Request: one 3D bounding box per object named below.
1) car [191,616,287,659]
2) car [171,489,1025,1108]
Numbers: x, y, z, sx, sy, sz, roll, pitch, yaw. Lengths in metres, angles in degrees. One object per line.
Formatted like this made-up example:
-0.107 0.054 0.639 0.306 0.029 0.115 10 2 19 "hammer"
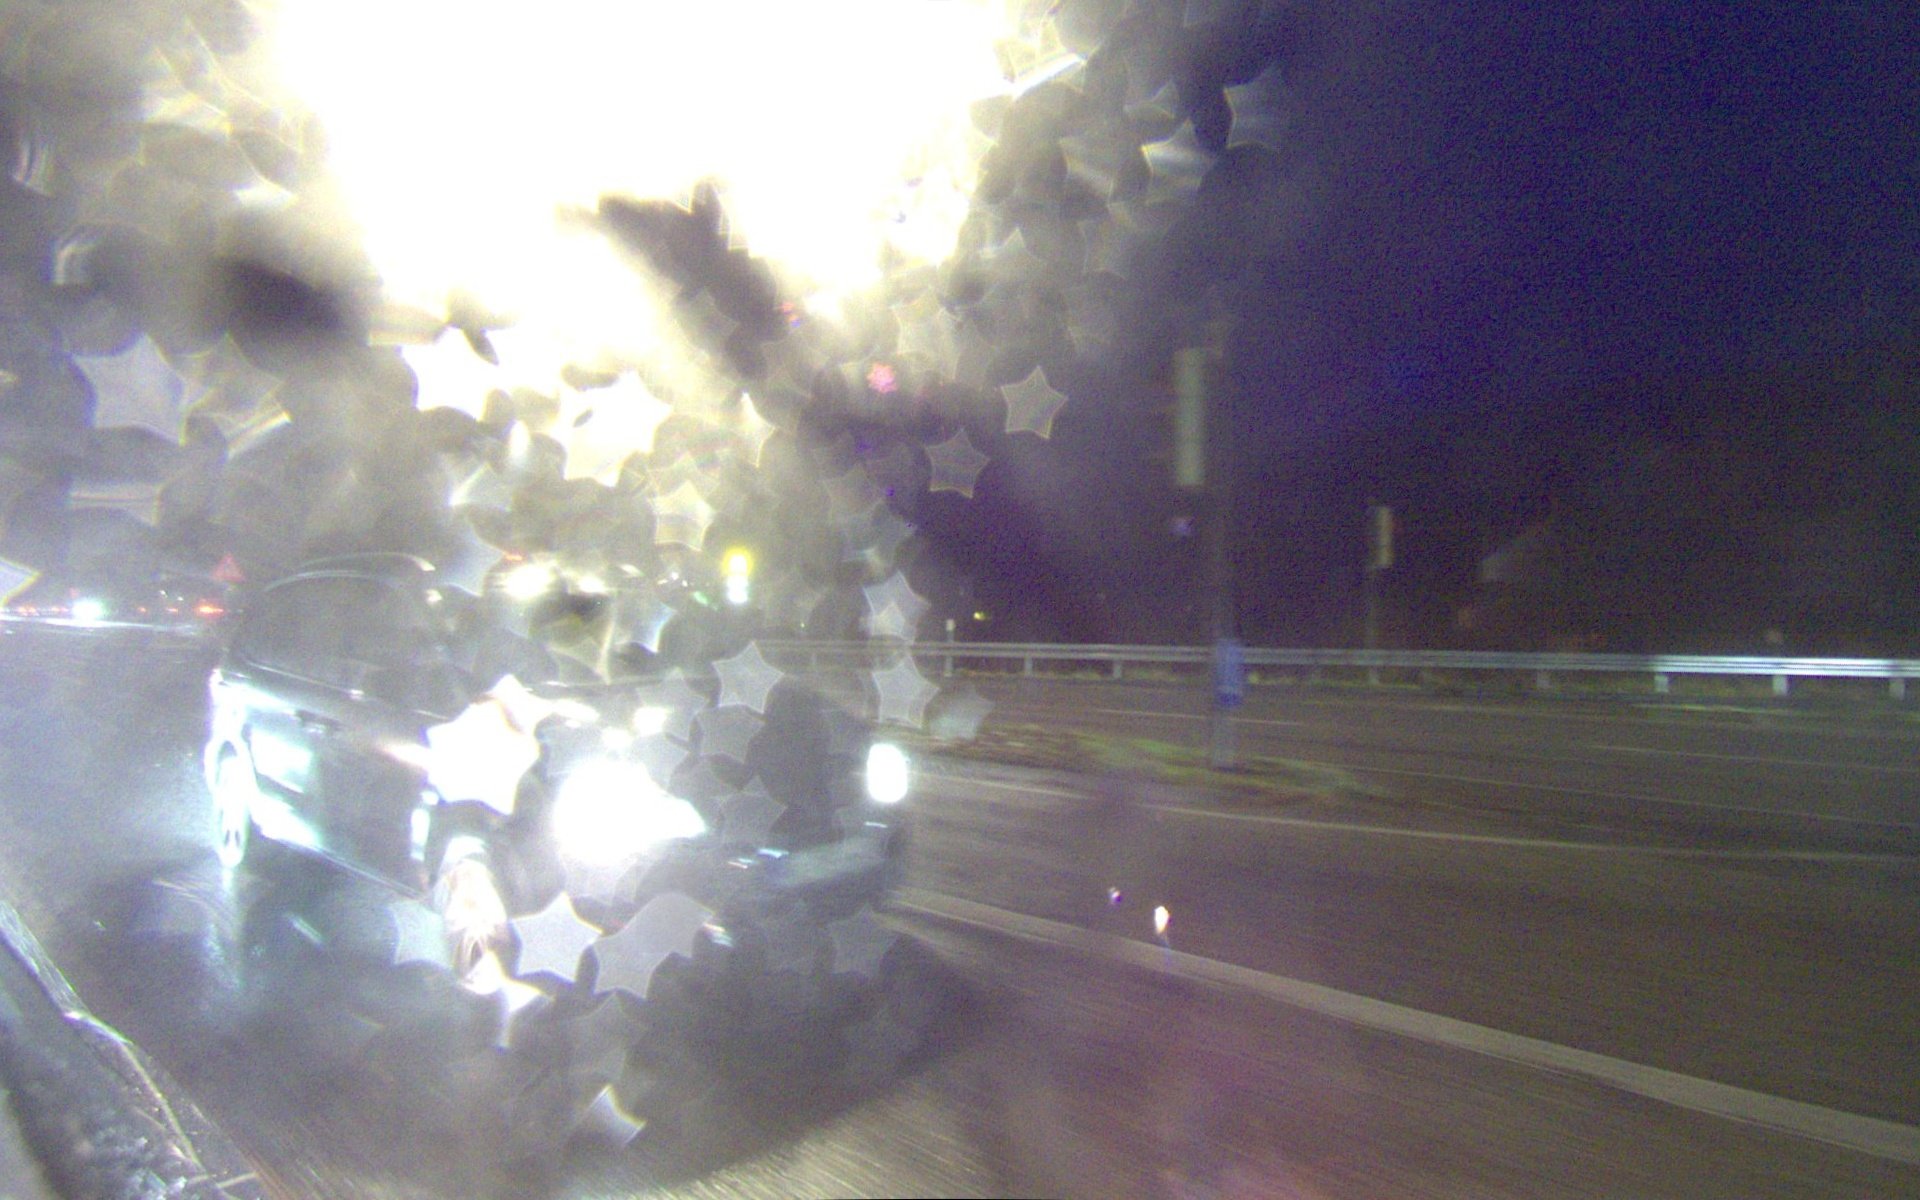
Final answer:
-28.047 1.454 39.340 4.365 1.510 1.639 0 -3 36 "car"
-2.204 0.577 5.147 4.935 1.717 1.890 0 -1 41 "car"
